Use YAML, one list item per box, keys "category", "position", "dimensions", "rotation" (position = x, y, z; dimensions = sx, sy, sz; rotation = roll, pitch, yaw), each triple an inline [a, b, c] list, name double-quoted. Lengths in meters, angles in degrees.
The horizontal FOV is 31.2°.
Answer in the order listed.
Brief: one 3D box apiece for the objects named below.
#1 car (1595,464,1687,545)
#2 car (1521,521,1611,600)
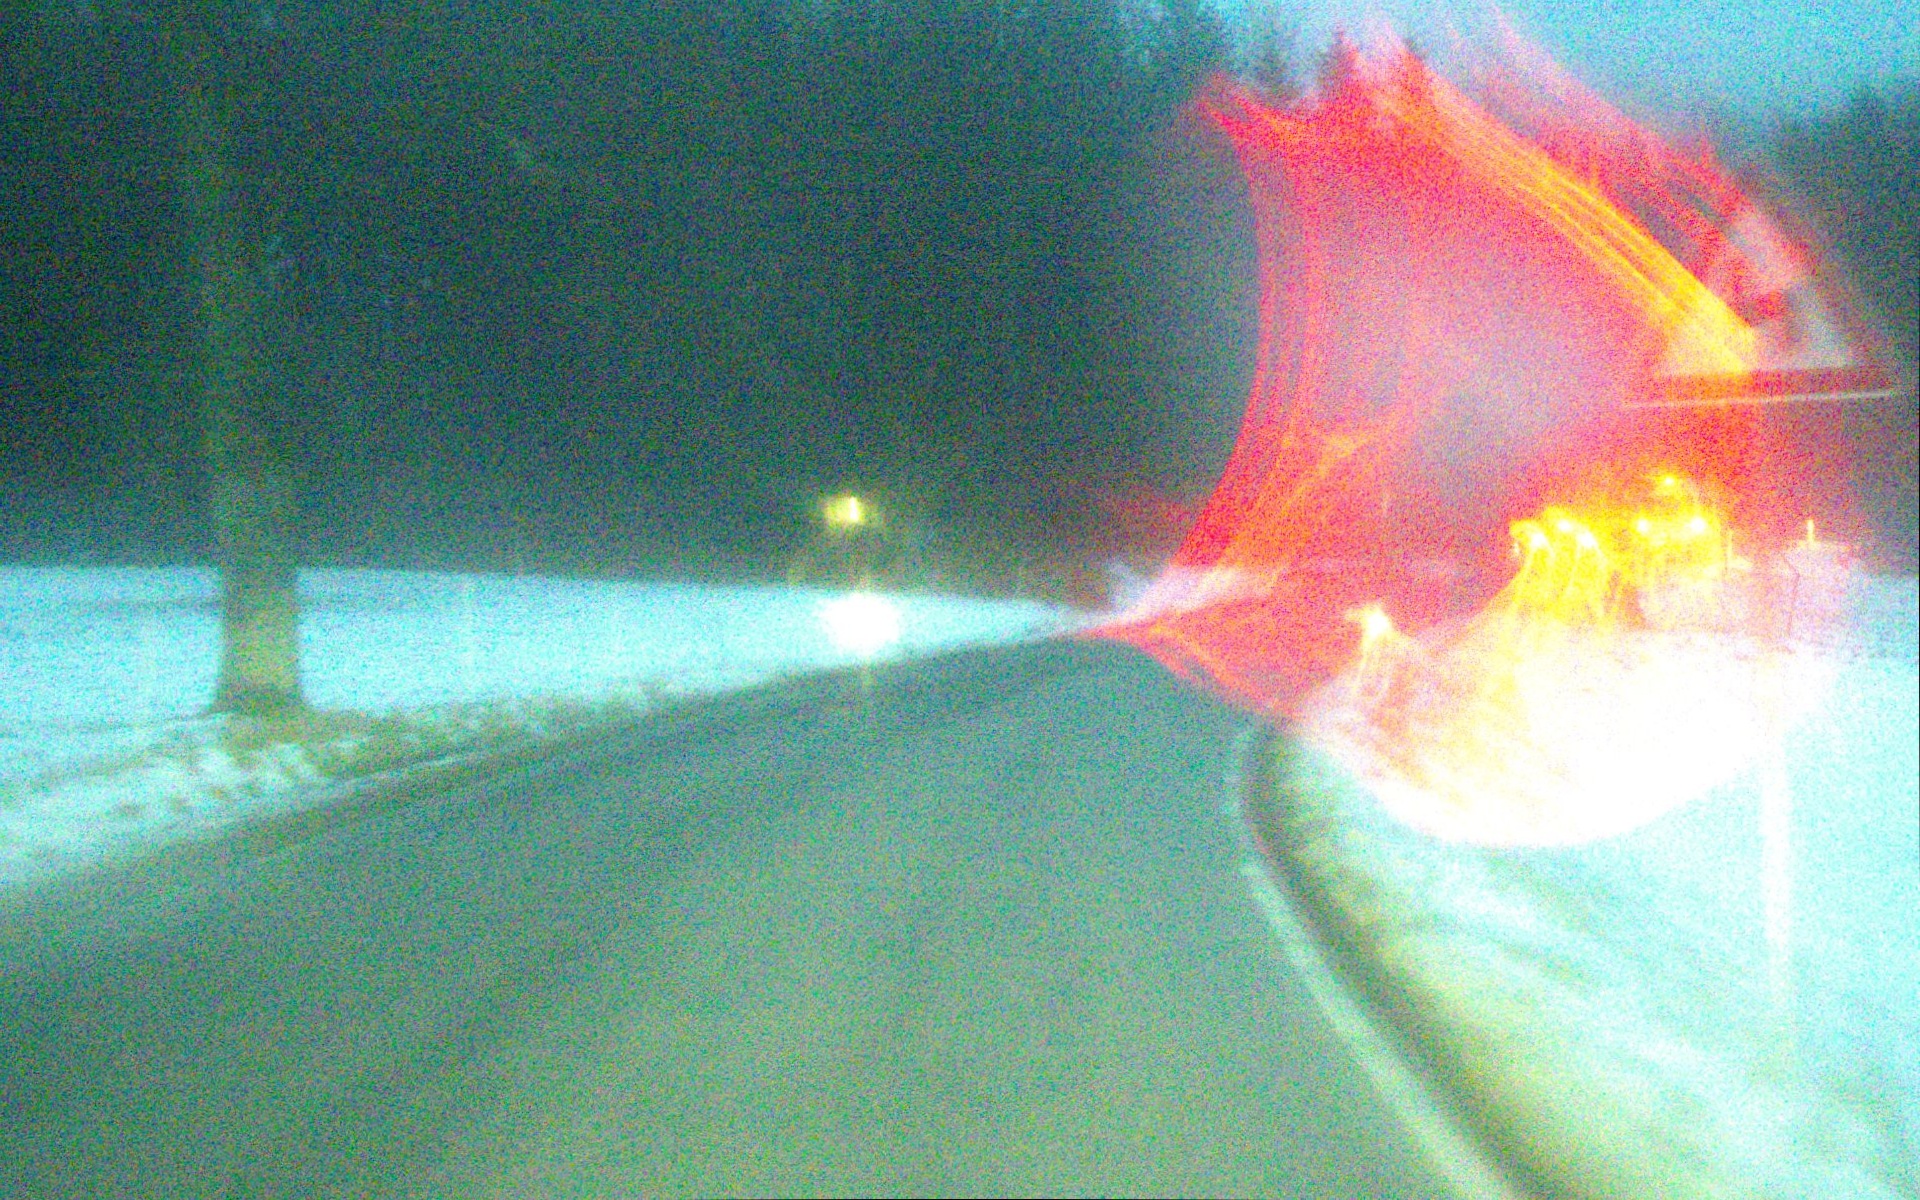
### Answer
- category: "car"
  position: [22.883, -3.220, 115.374]
  dimensions: [2.254, 2.636, 5.001]
  rotation: [0, 1, 21]
- category: "car"
  position: [16.481, -1.096, 93.326]
  dimensions: [1.995, 2.044, 3.997]
  rotation: [2, 2, 15]
